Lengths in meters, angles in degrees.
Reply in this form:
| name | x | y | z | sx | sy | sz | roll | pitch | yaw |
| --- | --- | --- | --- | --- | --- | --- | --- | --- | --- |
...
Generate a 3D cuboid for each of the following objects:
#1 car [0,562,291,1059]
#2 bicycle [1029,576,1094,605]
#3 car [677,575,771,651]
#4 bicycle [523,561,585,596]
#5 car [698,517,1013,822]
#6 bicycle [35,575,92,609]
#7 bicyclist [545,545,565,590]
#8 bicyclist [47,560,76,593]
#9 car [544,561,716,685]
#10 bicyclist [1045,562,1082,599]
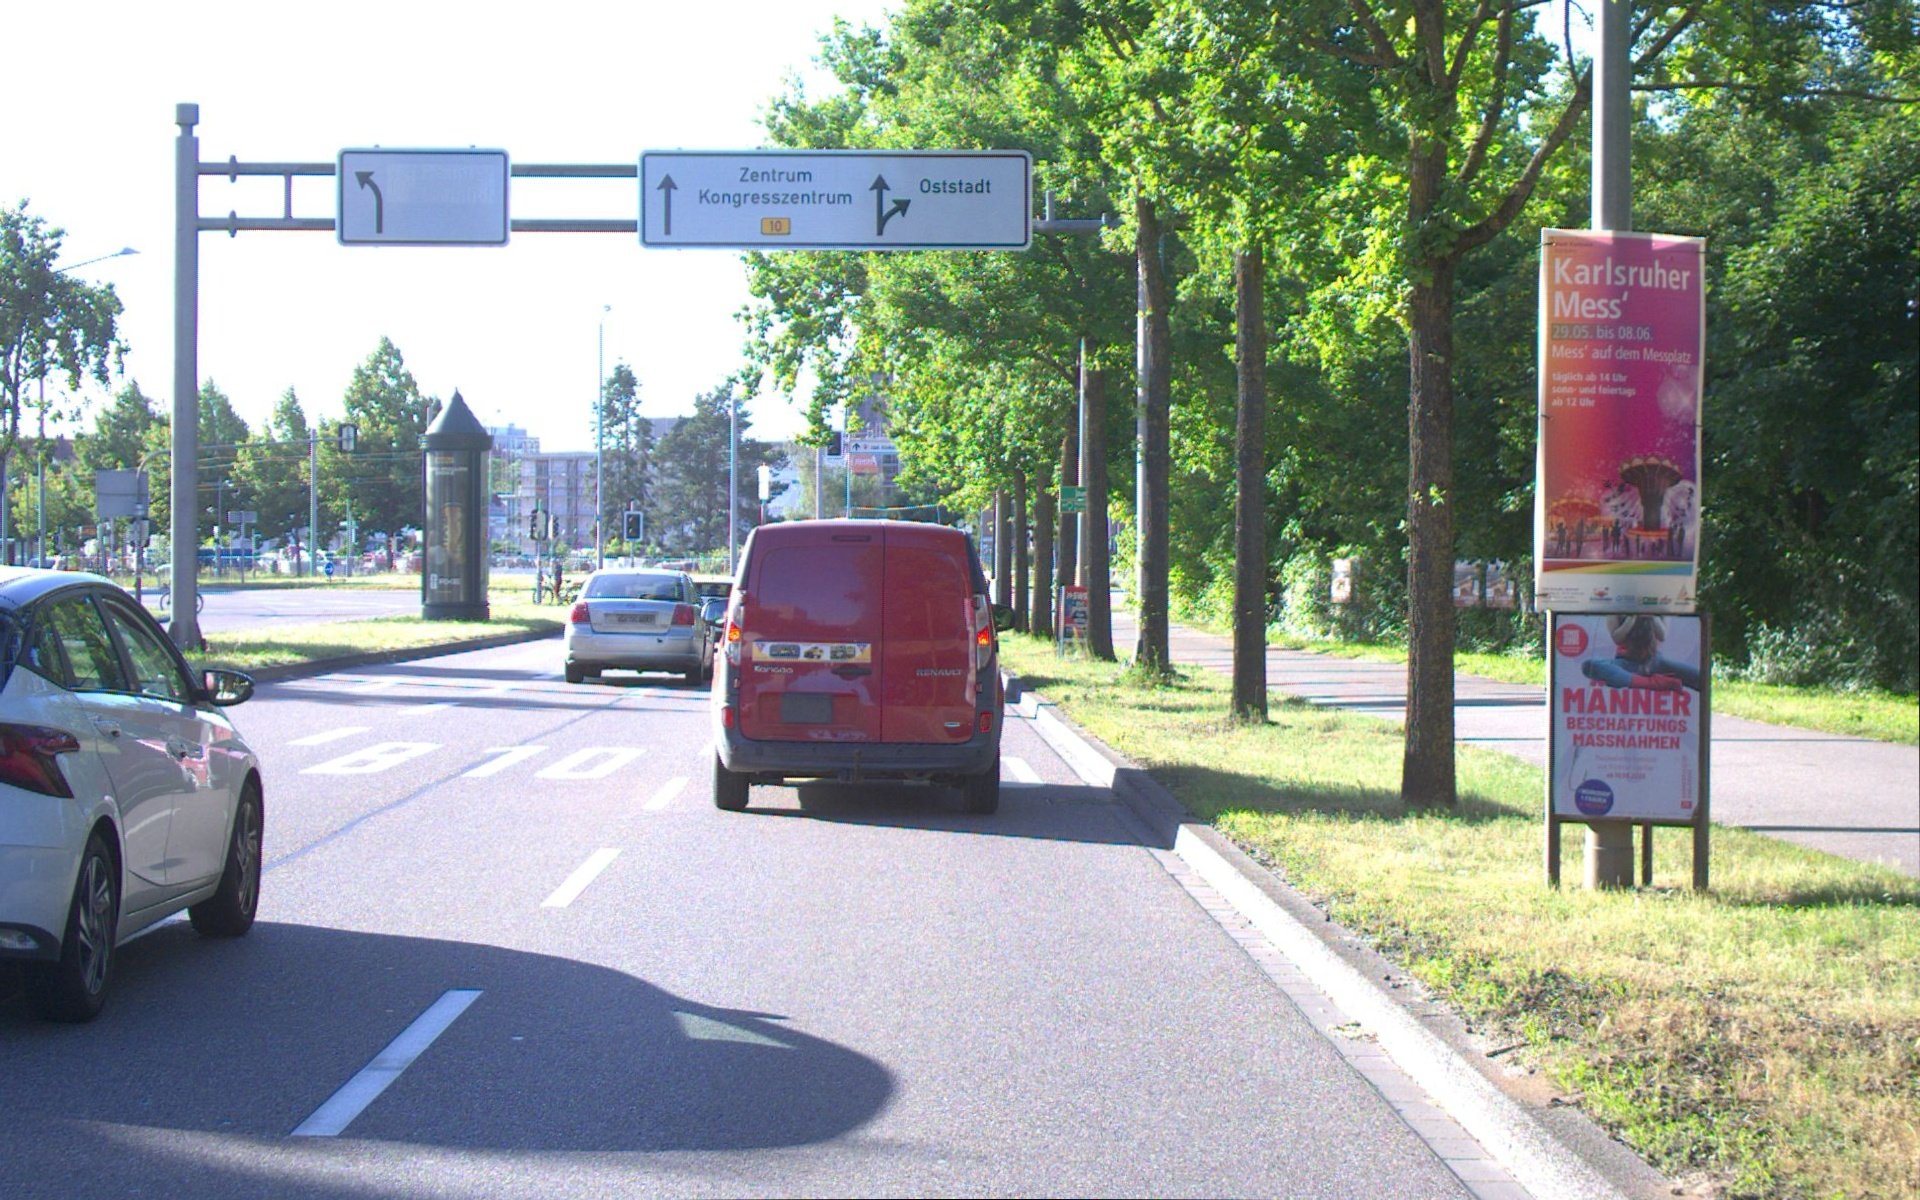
| name | x | y | z | sx | sy | sz | roll | pitch | yaw |
| --- | --- | --- | --- | --- | --- | --- | --- | --- | --- |
| car | -3.609 | 0.593 | 12.116 | 1.778 | 1.404 | 4.075 | 1 | 1 | -1 |
| bicycle | 3.423 | -0.329 | 115.512 | 2.119 | 0.955 | 0.789 | 0 | 0 | -33 |
| car | -4.543 | 0.226 | 66.465 | 1.661 | 1.393 | 3.559 | 0 | 1 | -1 |
| bicycle | -13.319 | -0.703 | 112.806 | 1.958 | 1.162 | 0.517 | 0 | 0 | -2 |
| car | -0.664 | 0.379 | 22.206 | 1.806 | 1.753 | 4.006 | 1 | 1 | -2 |
| bicycle | -29.394 | -0.254 | 112.729 | 1.727 | 1.103 | 0.604 | 0 | 0 | 12 |
| bicyclist | -13.283 | -1.066 | 112.806 | 0.603 | 1.463 | 0.517 | 0 | 0 | -2 |
| bicyclist | -29.464 | -0.772 | 112.746 | 0.735 | 1.103 | 0.604 | 0 | 0 | 12 |
| car | -4.188 | 0.256 | 44.216 | 1.841 | 1.451 | 4.162 | 2 | 1 | -1 |
| bicyclist | 3.469 | -0.664 | 115.539 | 0.968 | 1.245 | 0.789 | 0 | 0 | -33 |
